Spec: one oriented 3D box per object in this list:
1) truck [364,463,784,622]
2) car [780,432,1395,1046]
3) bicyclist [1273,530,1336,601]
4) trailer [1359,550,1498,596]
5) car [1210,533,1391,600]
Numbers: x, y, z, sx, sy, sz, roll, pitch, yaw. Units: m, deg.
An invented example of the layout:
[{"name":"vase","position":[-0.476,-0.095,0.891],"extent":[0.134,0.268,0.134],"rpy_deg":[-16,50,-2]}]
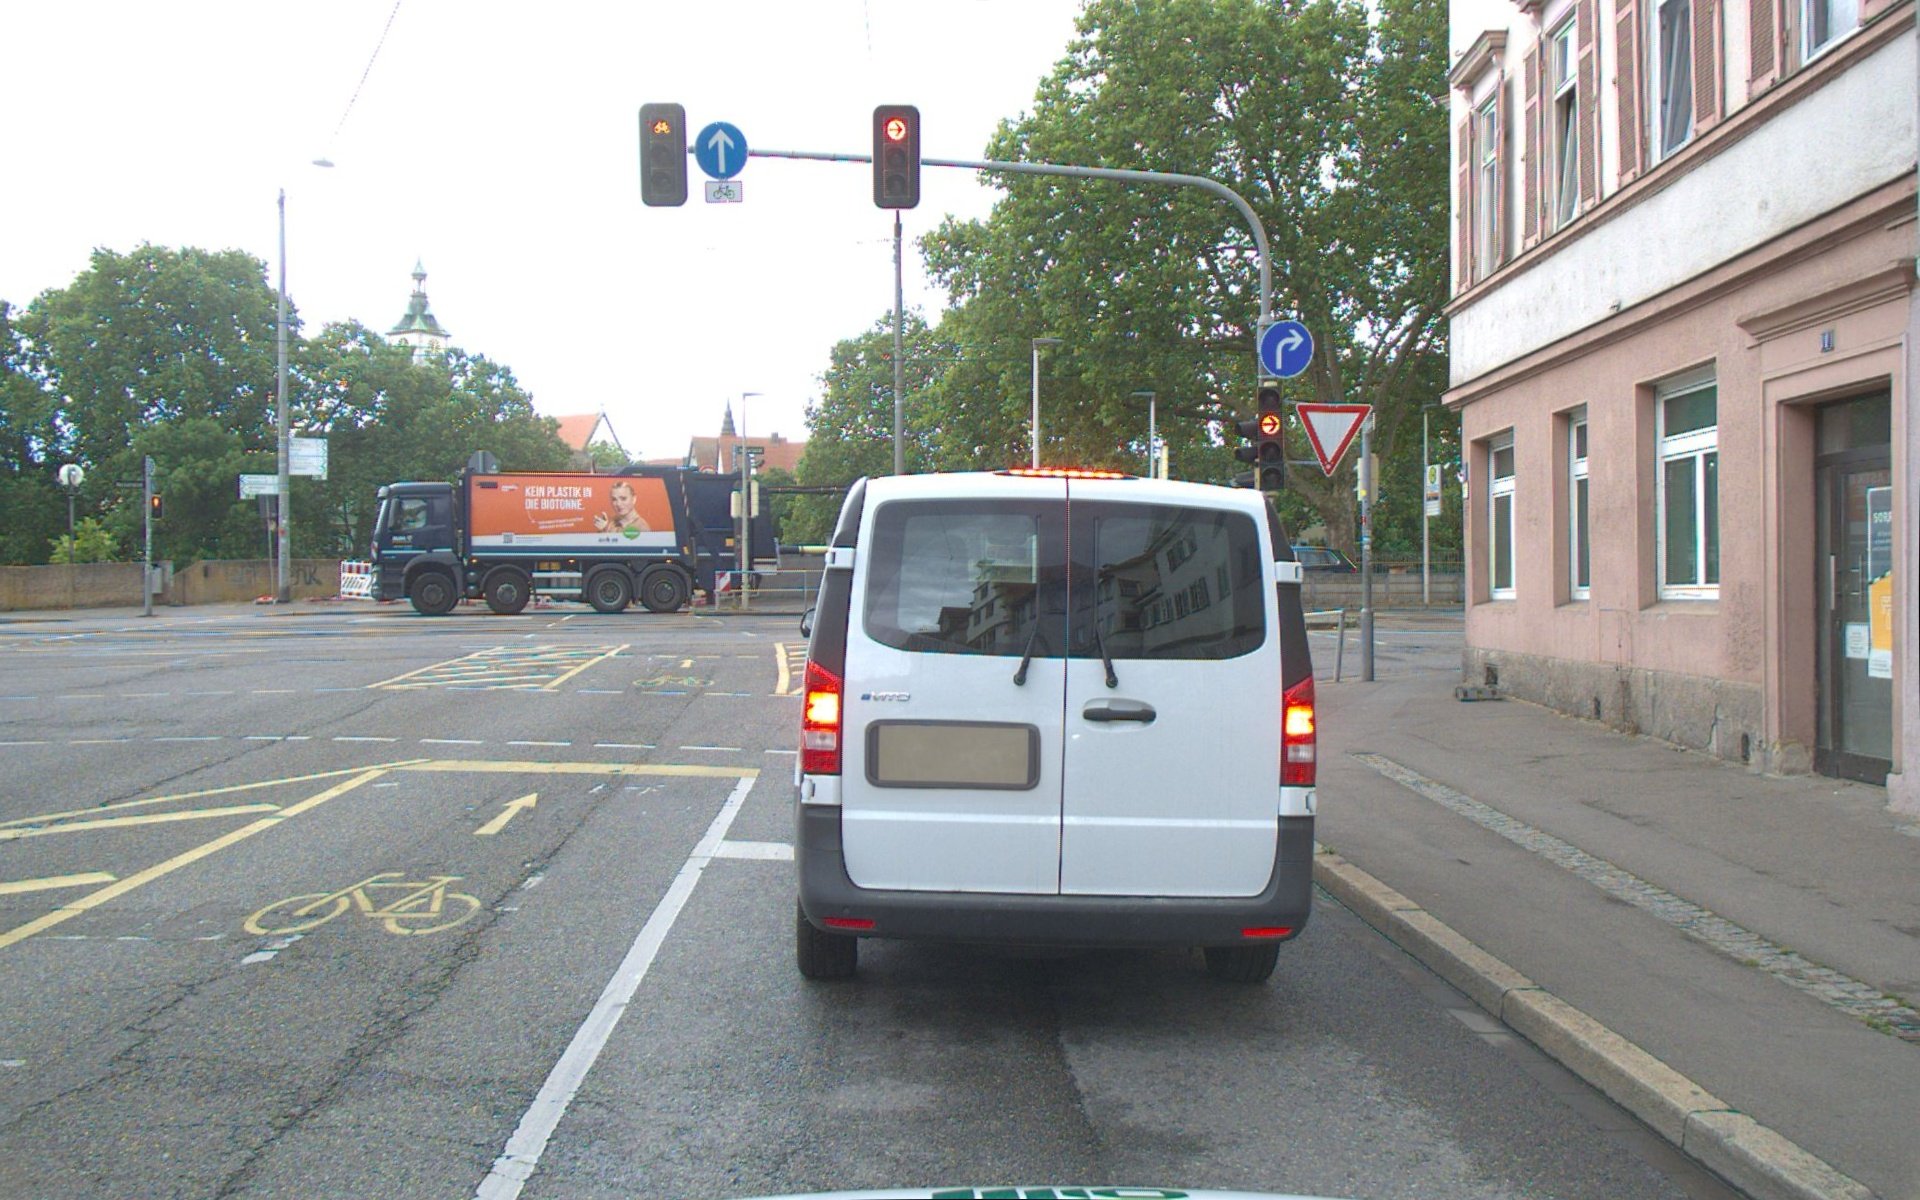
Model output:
[{"name":"truck","position":[-9.548,-1.388,41.554],"extent":[10.017,3.760,2.262],"rpy_deg":[0,0,-16]},{"name":"car","position":[0.322,0.382,7.423],"extent":[1.954,1.956,4.247],"rpy_deg":[1,2,-3]},{"name":"bicyclist","position":[10.769,-1.062,51.738],"extent":[1.538,2.194,1.243],"rpy_deg":[0,0,-15]},{"name":"trailer","position":[12.946,-0.746,45.811],"extent":[3.141,1.178,1.996],"rpy_deg":[-1,1,-9]},{"name":"car","position":[9.274,-0.903,45.201],"extent":[4.436,1.663,1.996],"rpy_deg":[-2,0,-9]}]
